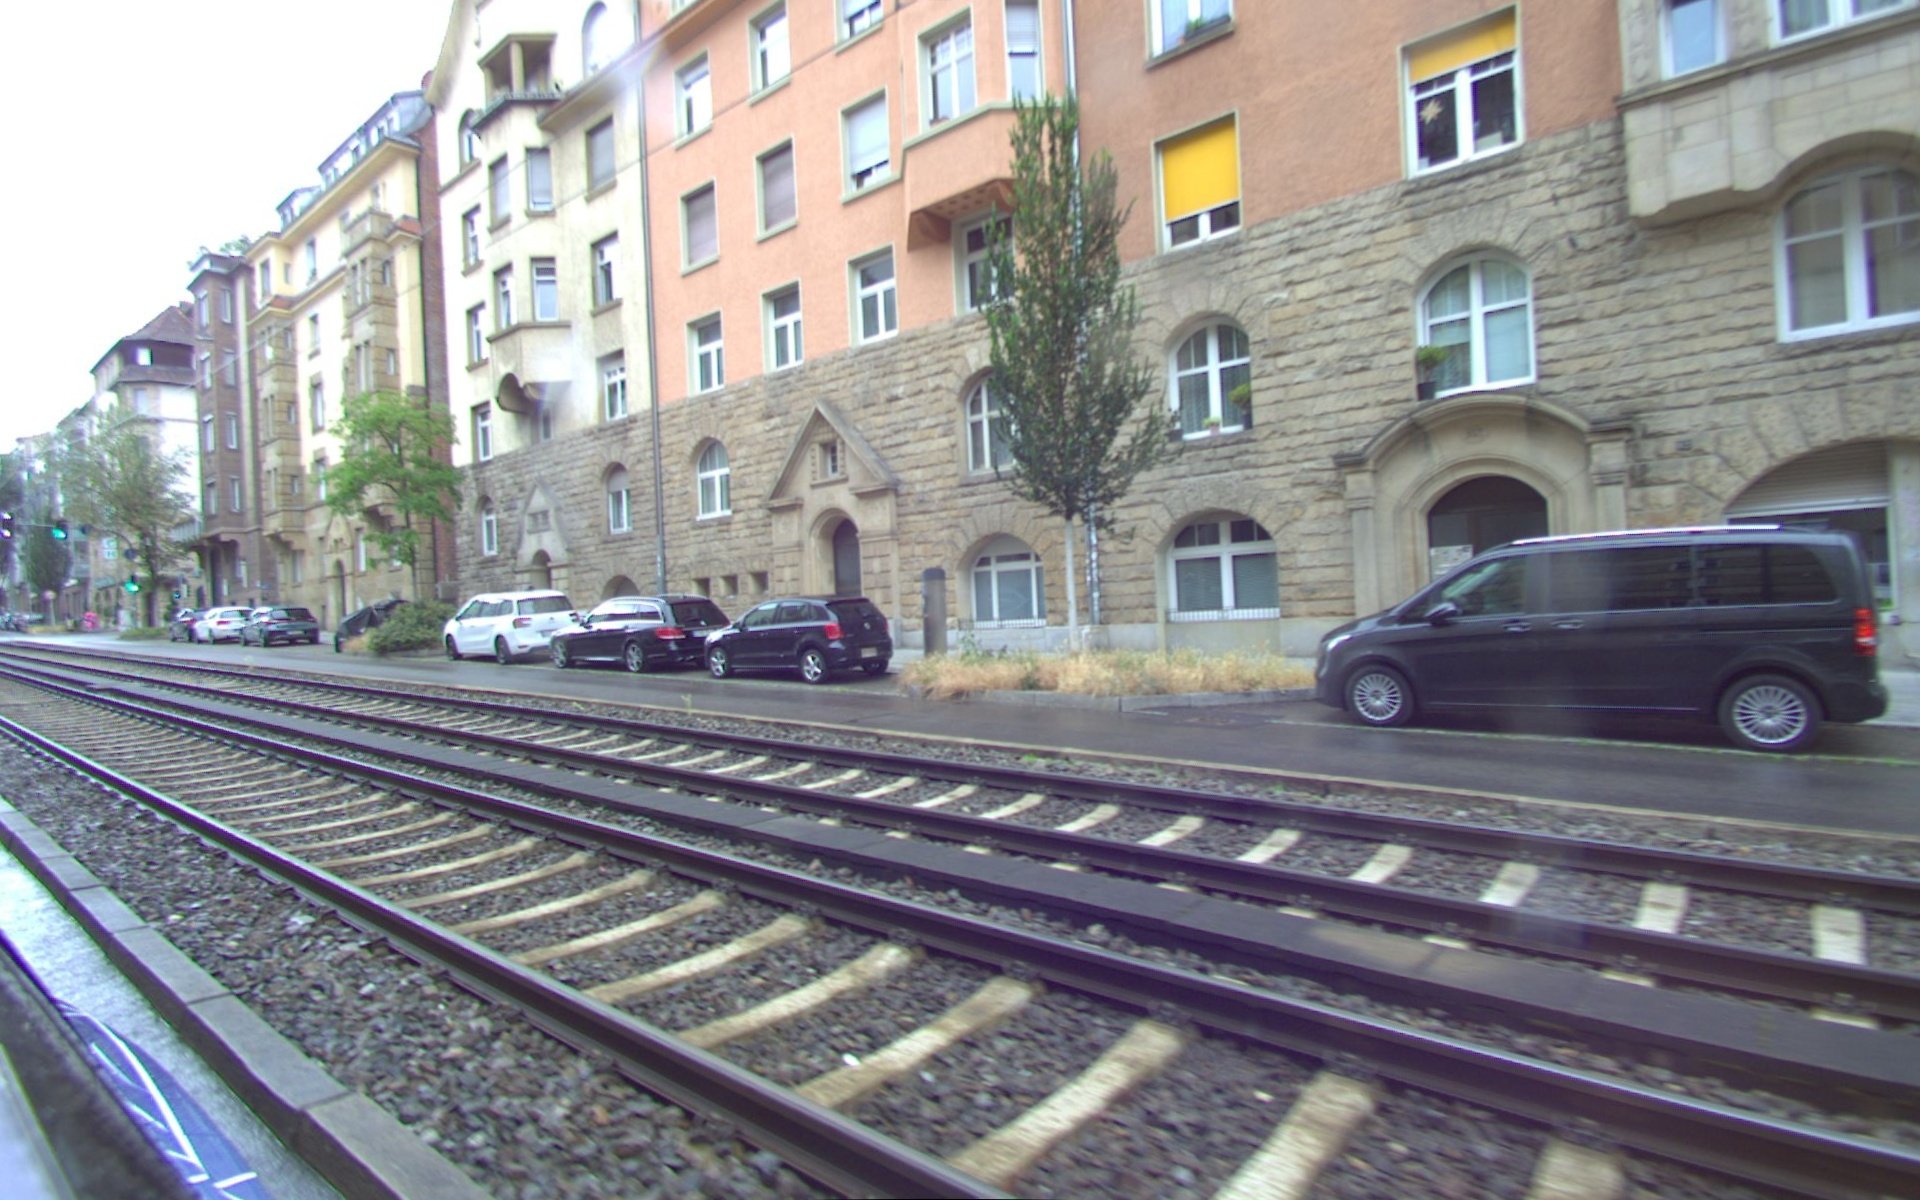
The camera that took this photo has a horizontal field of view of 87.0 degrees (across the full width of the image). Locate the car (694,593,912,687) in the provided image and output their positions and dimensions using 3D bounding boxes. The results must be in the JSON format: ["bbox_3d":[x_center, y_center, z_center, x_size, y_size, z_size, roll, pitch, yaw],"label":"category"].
[{"bbox_3d":[-2.824,0.644,17.929,3.690,1.414,1.739,-1,2,38],"label":"car"}]

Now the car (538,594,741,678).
[{"bbox_3d":[-6.701,0.684,20.937,4.593,1.502,1.738,-1,2,39],"label":"car"}]

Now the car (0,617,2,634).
[{"bbox_3d":[-83.056,2.175,86.162,4.255,1.356,1.771,-1,0,41],"label":"car"}]

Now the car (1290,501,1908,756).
[{"bbox_3d":[5.993,0.228,10.028,4.829,1.945,1.886,-1,0,40],"label":"car"}]

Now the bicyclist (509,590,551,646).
[{"bbox_3d":[-12.648,0.510,29.782,0.774,1.613,0.883,-1,0,41],"label":"bicyclist"}]

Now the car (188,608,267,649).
[{"bbox_3d":[-29.613,1.108,40.867,4.043,1.462,1.737,-1,3,42],"label":"car"}]

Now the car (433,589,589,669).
[{"bbox_3d":[-10.984,0.654,24.641,4.257,1.684,1.738,-1,3,40],"label":"car"}]

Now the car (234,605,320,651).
[{"bbox_3d":[-24.976,0.993,36.970,3.712,1.493,1.695,-1,3,42],"label":"car"}]

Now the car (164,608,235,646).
[{"bbox_3d":[-33.147,1.137,44.062,3.712,1.438,1.737,-1,3,42],"label":"car"}]
